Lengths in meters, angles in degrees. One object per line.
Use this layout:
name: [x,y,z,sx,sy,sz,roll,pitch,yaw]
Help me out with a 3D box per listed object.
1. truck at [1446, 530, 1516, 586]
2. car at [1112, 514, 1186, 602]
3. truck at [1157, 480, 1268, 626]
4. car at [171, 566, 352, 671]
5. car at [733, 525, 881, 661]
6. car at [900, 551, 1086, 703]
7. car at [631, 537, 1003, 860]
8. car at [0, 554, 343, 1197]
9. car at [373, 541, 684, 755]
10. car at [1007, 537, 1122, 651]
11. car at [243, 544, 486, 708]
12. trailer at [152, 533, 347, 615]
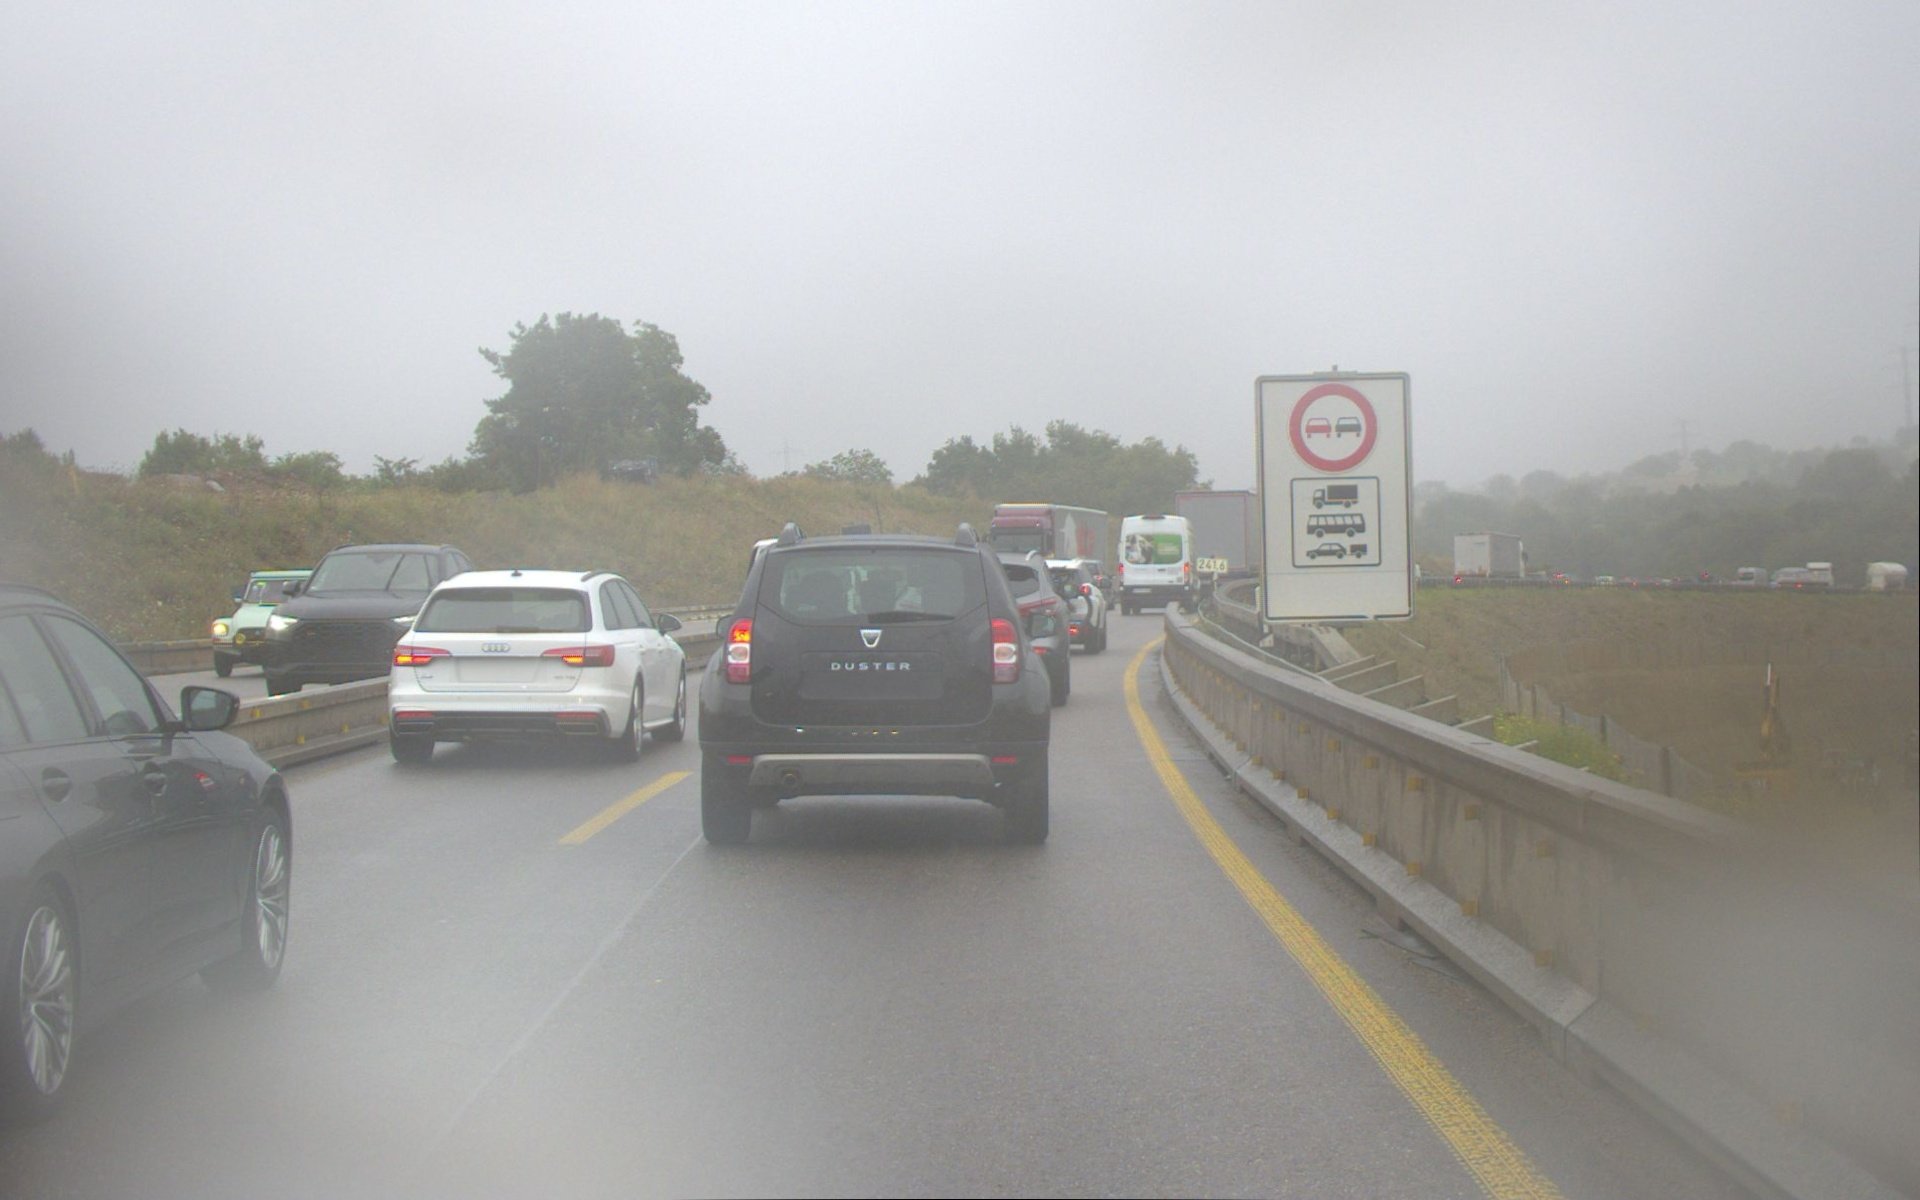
truck: [35.965,-2.938,237.027,3.475,3.702,8.410,-1,1,17]
car: [5.364,-1.173,97.080,1.827,2.429,4.157,0,0,7]
truck: [9.246,-1.648,124.857,3.544,5.060,10.439,0,0,7]
car: [-9.650,0.232,47.765,1.580,1.378,4.000,0,1,2]
car: [-2.091,-0.100,48.011,1.826,1.809,4.000,0,0,1]
car: [0.342,0.263,35.768,1.826,1.494,4.000,0,0,1]
car: [-0.681,0.483,18.939,1.826,1.585,4.000,0,0,1]
car: [-3.199,0.669,10.004,1.735,1.457,5.630,0,2,1]
car: [-3.188,0.336,26.125,1.826,1.494,4.000,0,0,1]
car: [1.743,-0.095,56.656,1.826,1.809,4.000,0,0,2]
car: [-6.350,0.227,37.114,1.822,1.633,4.485,0,1,0]
trailer: [-9.781,-0.372,47.660,1.580,1.085,4.713,0,1,2]
